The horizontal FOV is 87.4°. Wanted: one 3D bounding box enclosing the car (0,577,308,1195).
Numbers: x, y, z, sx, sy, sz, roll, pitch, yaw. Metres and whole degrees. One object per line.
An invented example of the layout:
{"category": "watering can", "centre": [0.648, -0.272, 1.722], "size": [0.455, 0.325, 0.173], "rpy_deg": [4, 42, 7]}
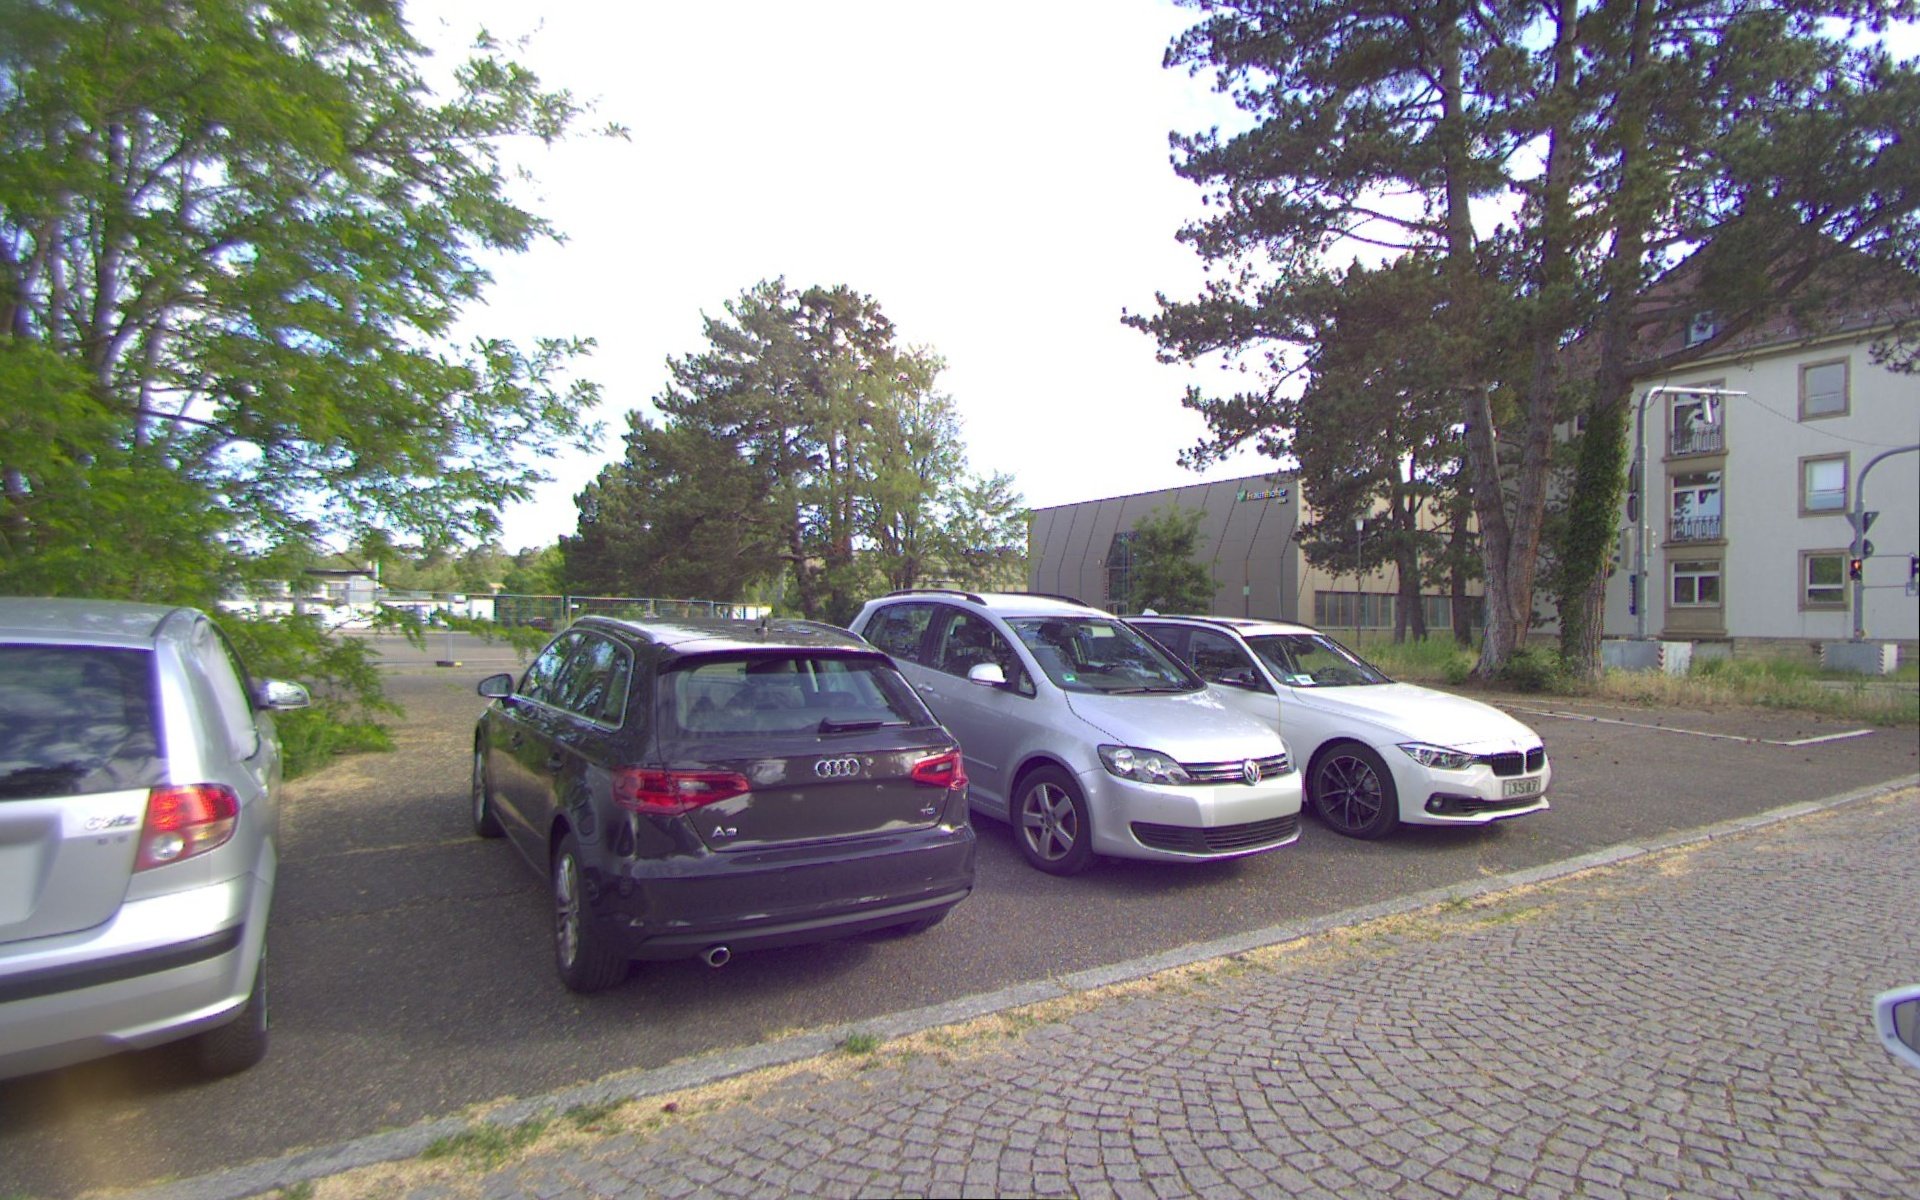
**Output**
{"category": "car", "centre": [-3.551, 0.704, 3.931], "size": [1.630, 1.495, 3.554], "rpy_deg": [1, 1, -34]}

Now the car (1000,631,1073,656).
{"category": "car", "centre": [4.568, 2.577, 59.823], "size": [4.081, 1.433, 1.751], "rpy_deg": [1, -1, -29]}

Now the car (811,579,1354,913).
{"category": "car", "centre": [0.566, 0.714, 7.098], "size": [1.718, 1.629, 3.807], "rpy_deg": [1, 1, -34]}

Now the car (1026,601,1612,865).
{"category": "car", "centre": [2.665, 0.839, 8.538], "size": [1.812, 1.461, 4.448], "rpy_deg": [1, 1, -35]}

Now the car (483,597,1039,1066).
{"category": "car", "centre": [-1.395, 0.776, 5.380], "size": [1.677, 1.427, 3.814], "rpy_deg": [1, 1, -32]}

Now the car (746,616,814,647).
{"category": "car", "centre": [-8.179, 1.390, 45.445], "size": [1.576, 1.355, 3.705], "rpy_deg": [1, -1, -36]}
